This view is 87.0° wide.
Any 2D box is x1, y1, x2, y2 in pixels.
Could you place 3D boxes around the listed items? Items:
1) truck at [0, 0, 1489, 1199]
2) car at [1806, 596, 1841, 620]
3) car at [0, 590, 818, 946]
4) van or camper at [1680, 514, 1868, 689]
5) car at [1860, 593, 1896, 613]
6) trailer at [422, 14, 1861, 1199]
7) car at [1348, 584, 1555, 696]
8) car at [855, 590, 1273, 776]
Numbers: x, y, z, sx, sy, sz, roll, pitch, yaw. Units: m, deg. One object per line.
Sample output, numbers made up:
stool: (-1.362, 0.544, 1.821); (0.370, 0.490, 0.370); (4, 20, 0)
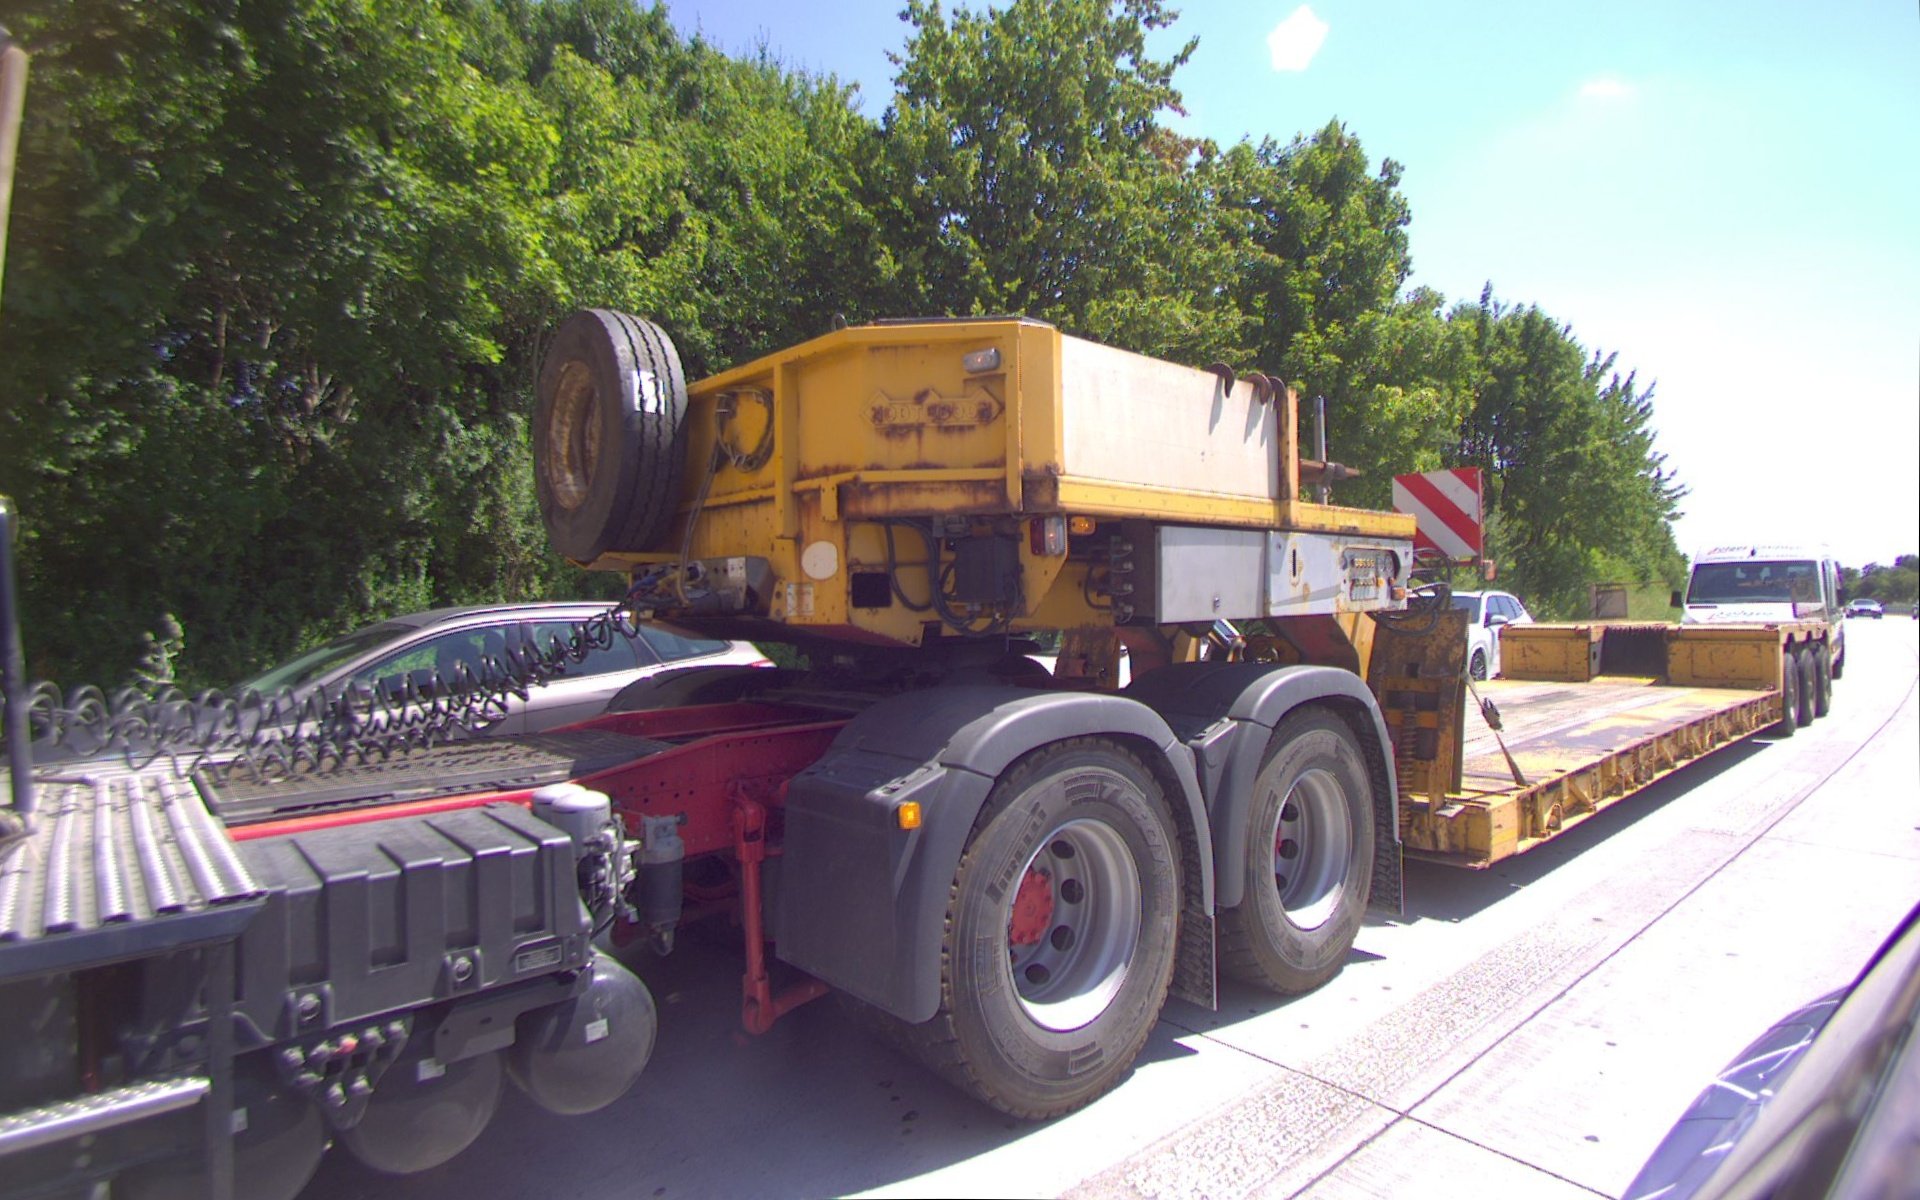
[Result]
truck: (-1.352, -0.513, 3.165); (7.343, 3.820, 3.017); (-1, 0, -42)
car: (58.645, 0.519, 68.756); (1.765, 1.581, 4.304); (0, 1, 41)
car: (-3.168, 0.696, 6.445); (4.293, 1.480, 1.769); (-1, 1, -44)
van or camper: (14.526, -0.026, 17.908); (2.063, 2.606, 5.814); (0, 1, 44)
car: (68.541, 0.206, 75.591); (1.884, 1.482, 3.940); (0, 1, 42)
trailer: (4.615, 0.058, 8.653); (16.078, 2.626, 3.031); (0, 0, -43)
car: (8.110, 0.545, 16.512); (1.768, 1.581, 4.298); (0, 1, 45)
car: (1.255, 0.657, 10.414); (4.521, 1.480, 1.769); (-1, 1, -43)
